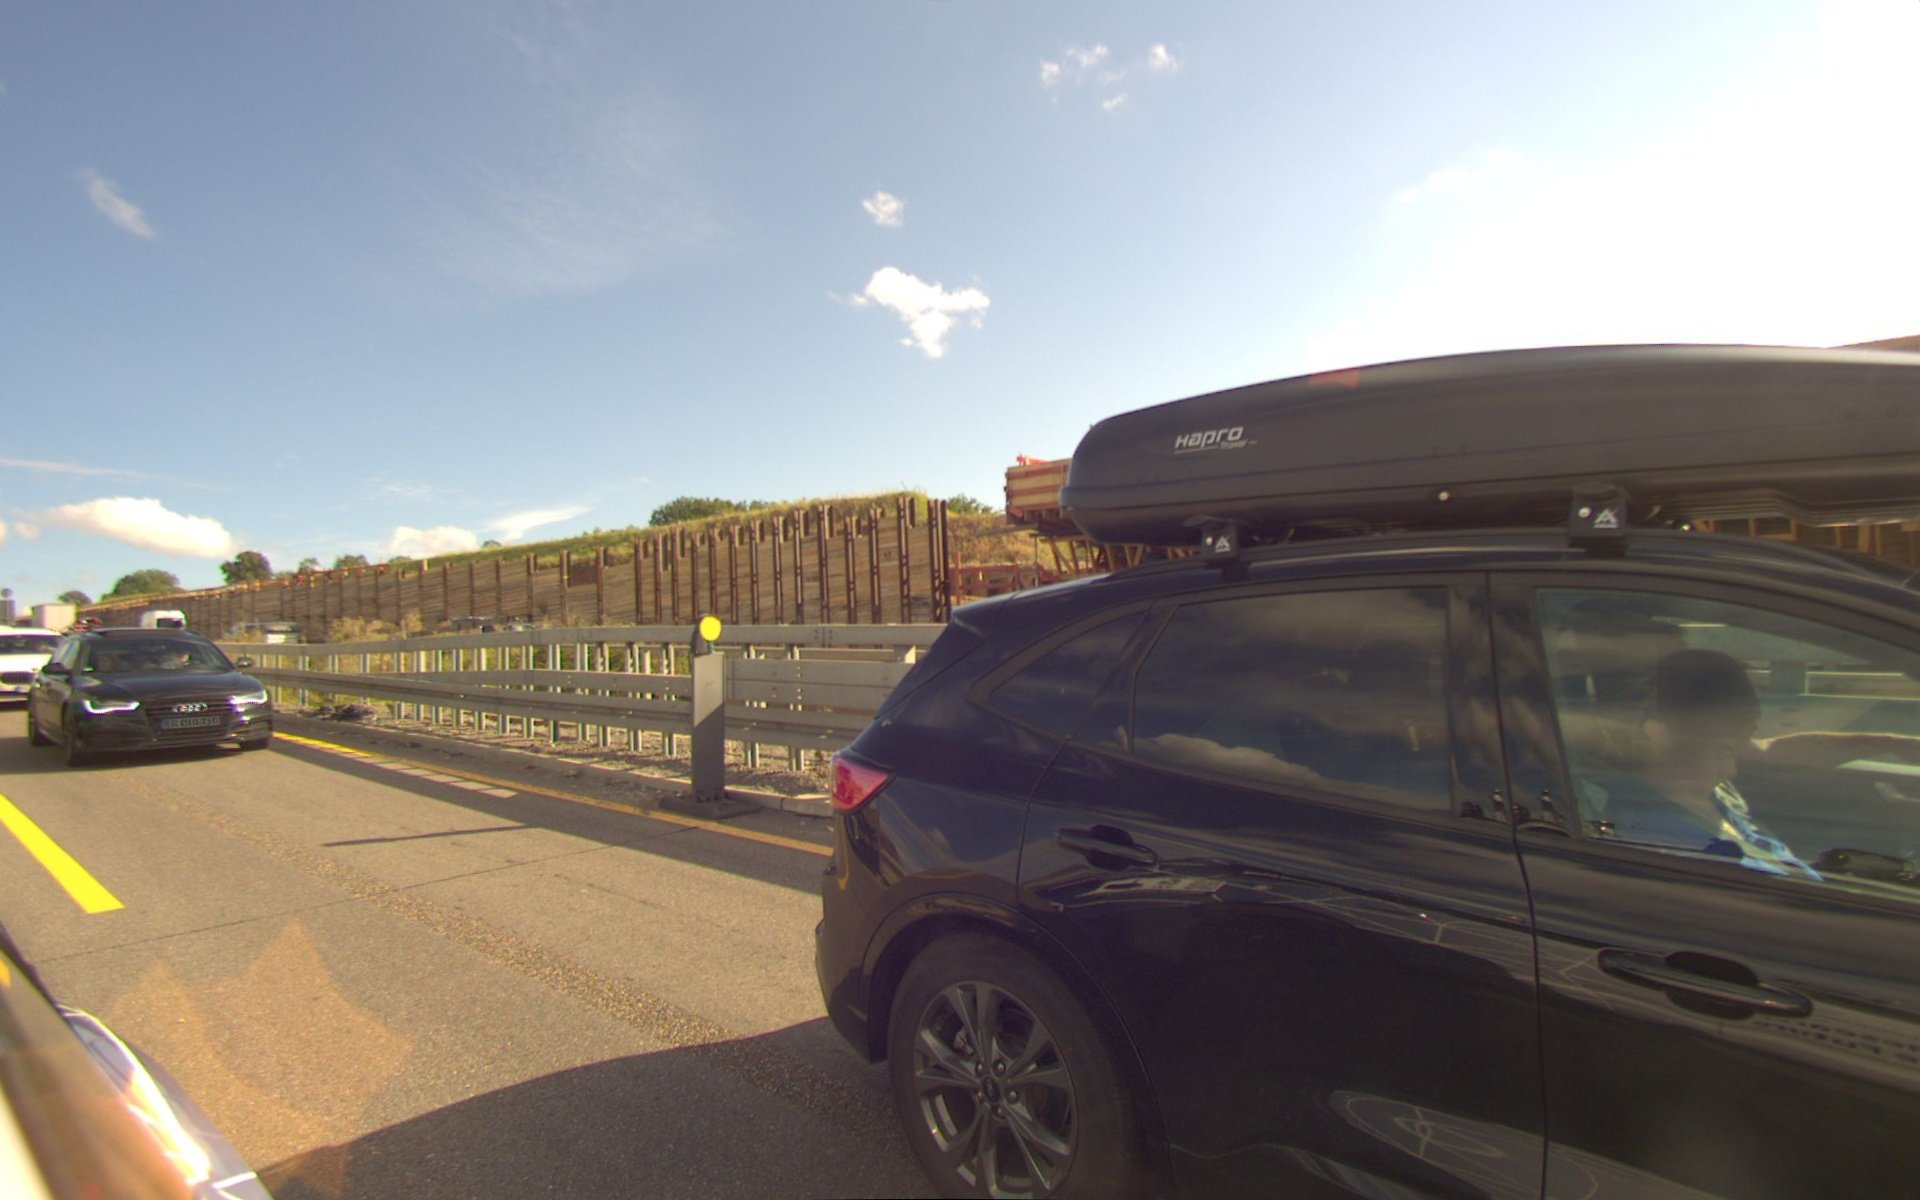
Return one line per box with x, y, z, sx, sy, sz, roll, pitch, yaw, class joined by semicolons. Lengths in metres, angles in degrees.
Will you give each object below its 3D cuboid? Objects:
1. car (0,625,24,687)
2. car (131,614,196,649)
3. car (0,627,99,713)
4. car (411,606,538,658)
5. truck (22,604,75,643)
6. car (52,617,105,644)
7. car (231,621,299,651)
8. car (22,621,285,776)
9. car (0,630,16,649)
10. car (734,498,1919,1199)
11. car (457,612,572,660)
-26.281;1.477;26.921;3.998;1.530;1.637;-1;0;41;car
-57.581;2.250;73.125;6.402;2.360;2.539;-1;0;41;car
-18.295;1.284;19.546;4.406;1.441;1.924;0;0;41;car
-15.079;0.935;31.359;4.405;1.441;1.924;0;1;41;car
-95.863;2.400;106.380;8.230;3.895;3.137;-1;0;41;truck
-81.345;2.747;93.390;6.402;2.360;2.850;-1;0;41;car
-37.241;1.888;54.209;4.405;1.441;1.924;0;1;41;car
-9.882;1.020;12.260;4.506;1.441;1.922;0;0;44;car
-126.405;5.184;132.948;6.402;2.360;2.850;-1;0;41;car
1.632;0.625;1.955;4.382;1.554;1.781;0;2;41;car
-15.439;1.197;35.000;4.405;1.441;1.924;0;1;41;car
